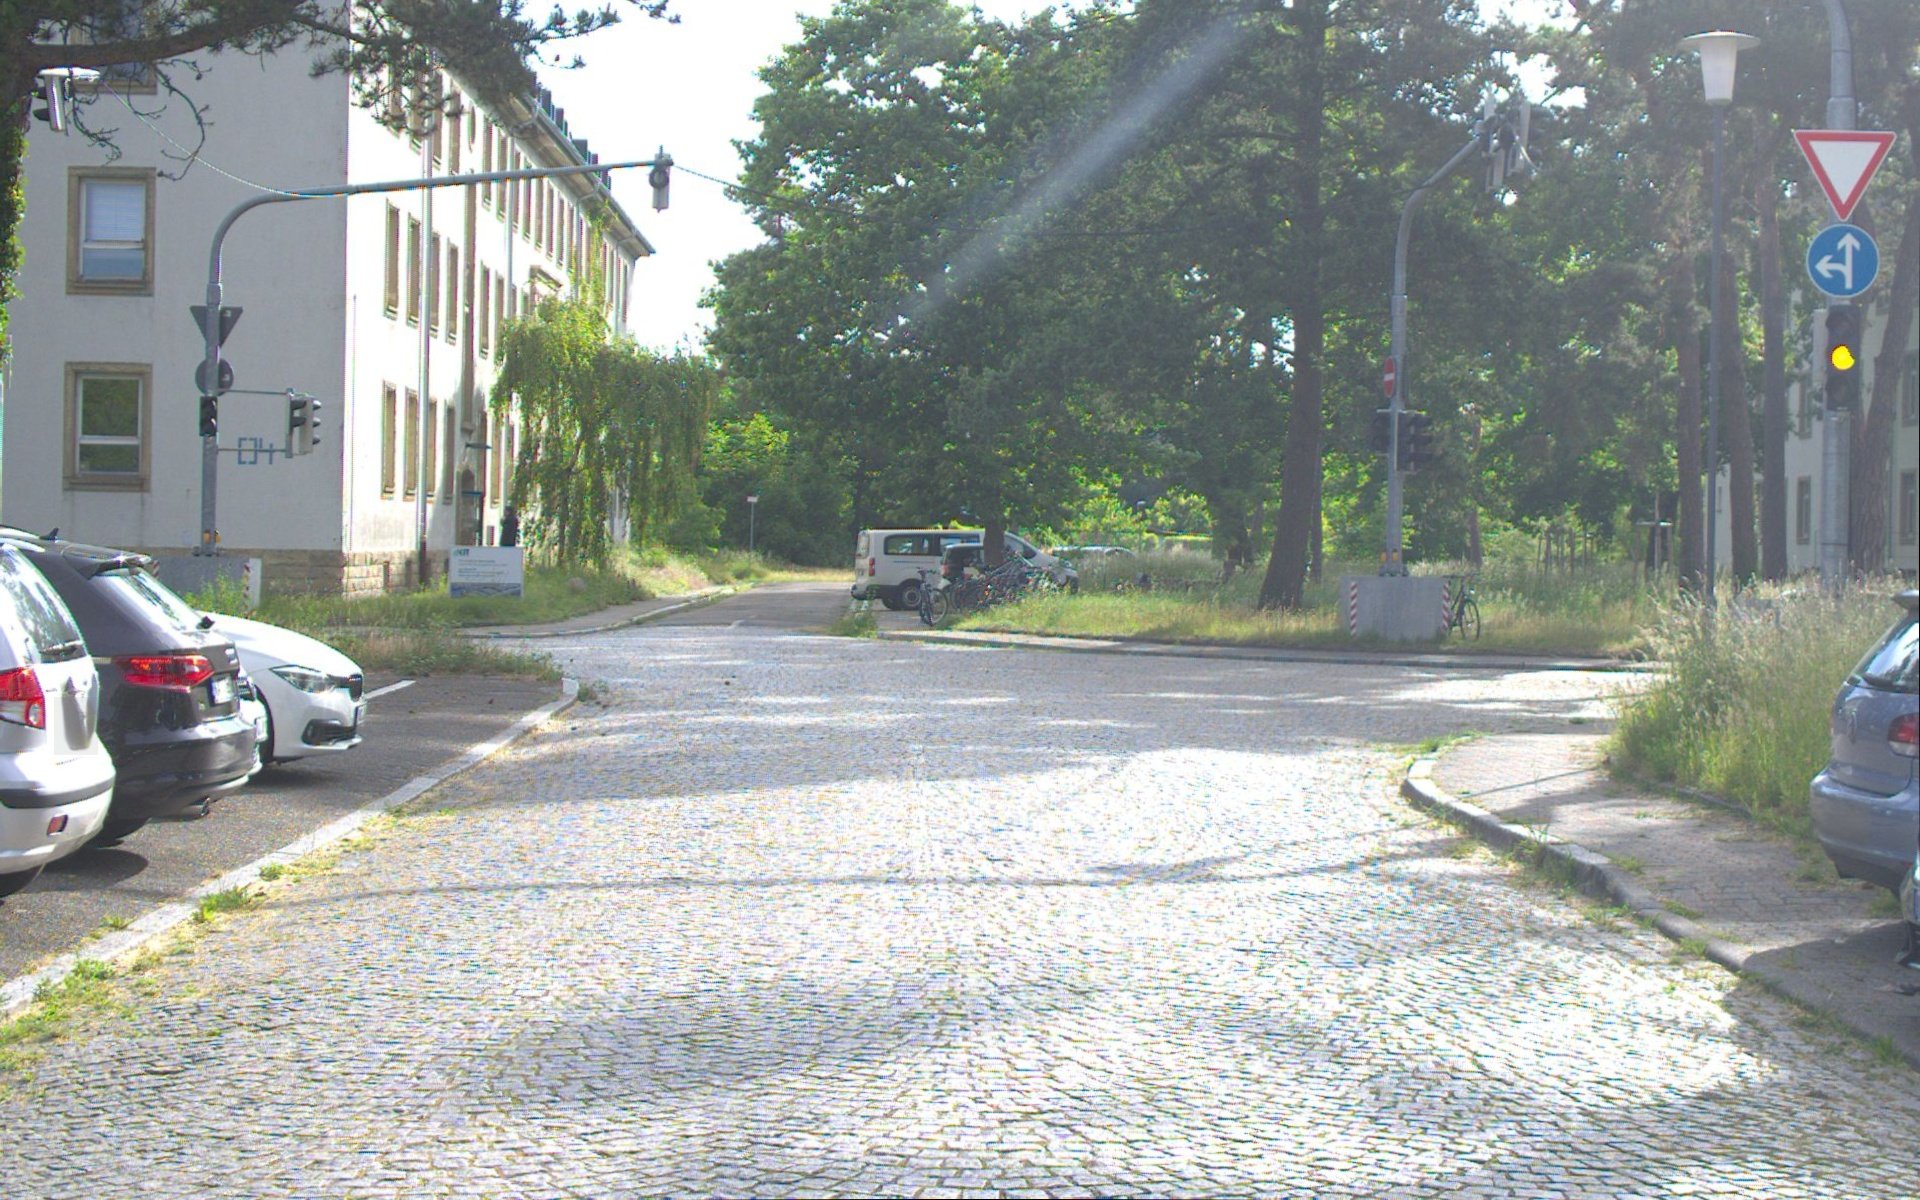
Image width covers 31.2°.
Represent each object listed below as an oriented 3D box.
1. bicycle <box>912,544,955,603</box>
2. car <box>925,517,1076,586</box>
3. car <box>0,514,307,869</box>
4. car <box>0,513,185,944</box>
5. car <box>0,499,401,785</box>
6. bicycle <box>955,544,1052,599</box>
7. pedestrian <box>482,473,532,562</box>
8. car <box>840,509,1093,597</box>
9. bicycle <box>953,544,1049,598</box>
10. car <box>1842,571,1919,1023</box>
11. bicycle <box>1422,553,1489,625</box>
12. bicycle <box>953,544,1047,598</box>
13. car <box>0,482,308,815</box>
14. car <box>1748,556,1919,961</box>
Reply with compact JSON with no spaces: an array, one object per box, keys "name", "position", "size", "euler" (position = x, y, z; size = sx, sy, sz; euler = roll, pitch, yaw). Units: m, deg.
[{"name":"bicycle","position":[-0.474,-0.484,61.231],"size":[0.728,0.995,1.799],"euler":[1,2,-1]},{"name":"car","position":[0.893,-1.086,77.206],"size":[3.031,1.460,1.720],"euler":[1,0,-14]},{"name":"car","position":[-5.046,0.282,15.431],"size":[3.828,1.424,1.859],"euler":[4,1,-2]},{"name":"car","position":[-4.948,0.322,12.777],"size":[3.682,1.468,1.850],"euler":[4,1,-3]},{"name":"car","position":[-5.807,0.146,20.656],"size":[4.586,1.450,1.904],"euler":[4,2,-3]},{"name":"bicycle","position":[0.814,-0.539,64.841],"size":[1.792,0.995,0.644],"euler":[1,2,-2]},{"name":"pedestrian","position":[-10.144,-1.833,77.008],"size":[0.985,1.956,0.933],"euler":[1,1,-2]},{"name":"car","position":[0.139,-1.102,80.761],"size":[5.499,1.909,2.255],"euler":[1,1,-15]},{"name":"bicycle","position":[0.789,-0.552,65.861],"size":[1.792,0.995,0.644],"euler":[1,2,-2]},{"name":"car","position":[5.401,0.664,11.201],"size":[4.506,1.468,1.895],"euler":[0,1,-5]},{"name":"bicycle","position":[7.315,-0.169,50.769],"size":[0.562,0.995,1.752],"euler":[1,2,-5]},{"name":"bicycle","position":[0.769,-0.564,66.583],"size":[1.792,0.995,0.644],"euler":[1,2,-2]},{"name":"car","position":[-5.657,0.137,18.114],"size":[4.120,1.594,1.859],"euler":[4,1,-6]},{"name":"car","position":[5.693,0.595,13.830],"size":[4.543,1.500,1.933],"euler":[0,1,-3]}]
